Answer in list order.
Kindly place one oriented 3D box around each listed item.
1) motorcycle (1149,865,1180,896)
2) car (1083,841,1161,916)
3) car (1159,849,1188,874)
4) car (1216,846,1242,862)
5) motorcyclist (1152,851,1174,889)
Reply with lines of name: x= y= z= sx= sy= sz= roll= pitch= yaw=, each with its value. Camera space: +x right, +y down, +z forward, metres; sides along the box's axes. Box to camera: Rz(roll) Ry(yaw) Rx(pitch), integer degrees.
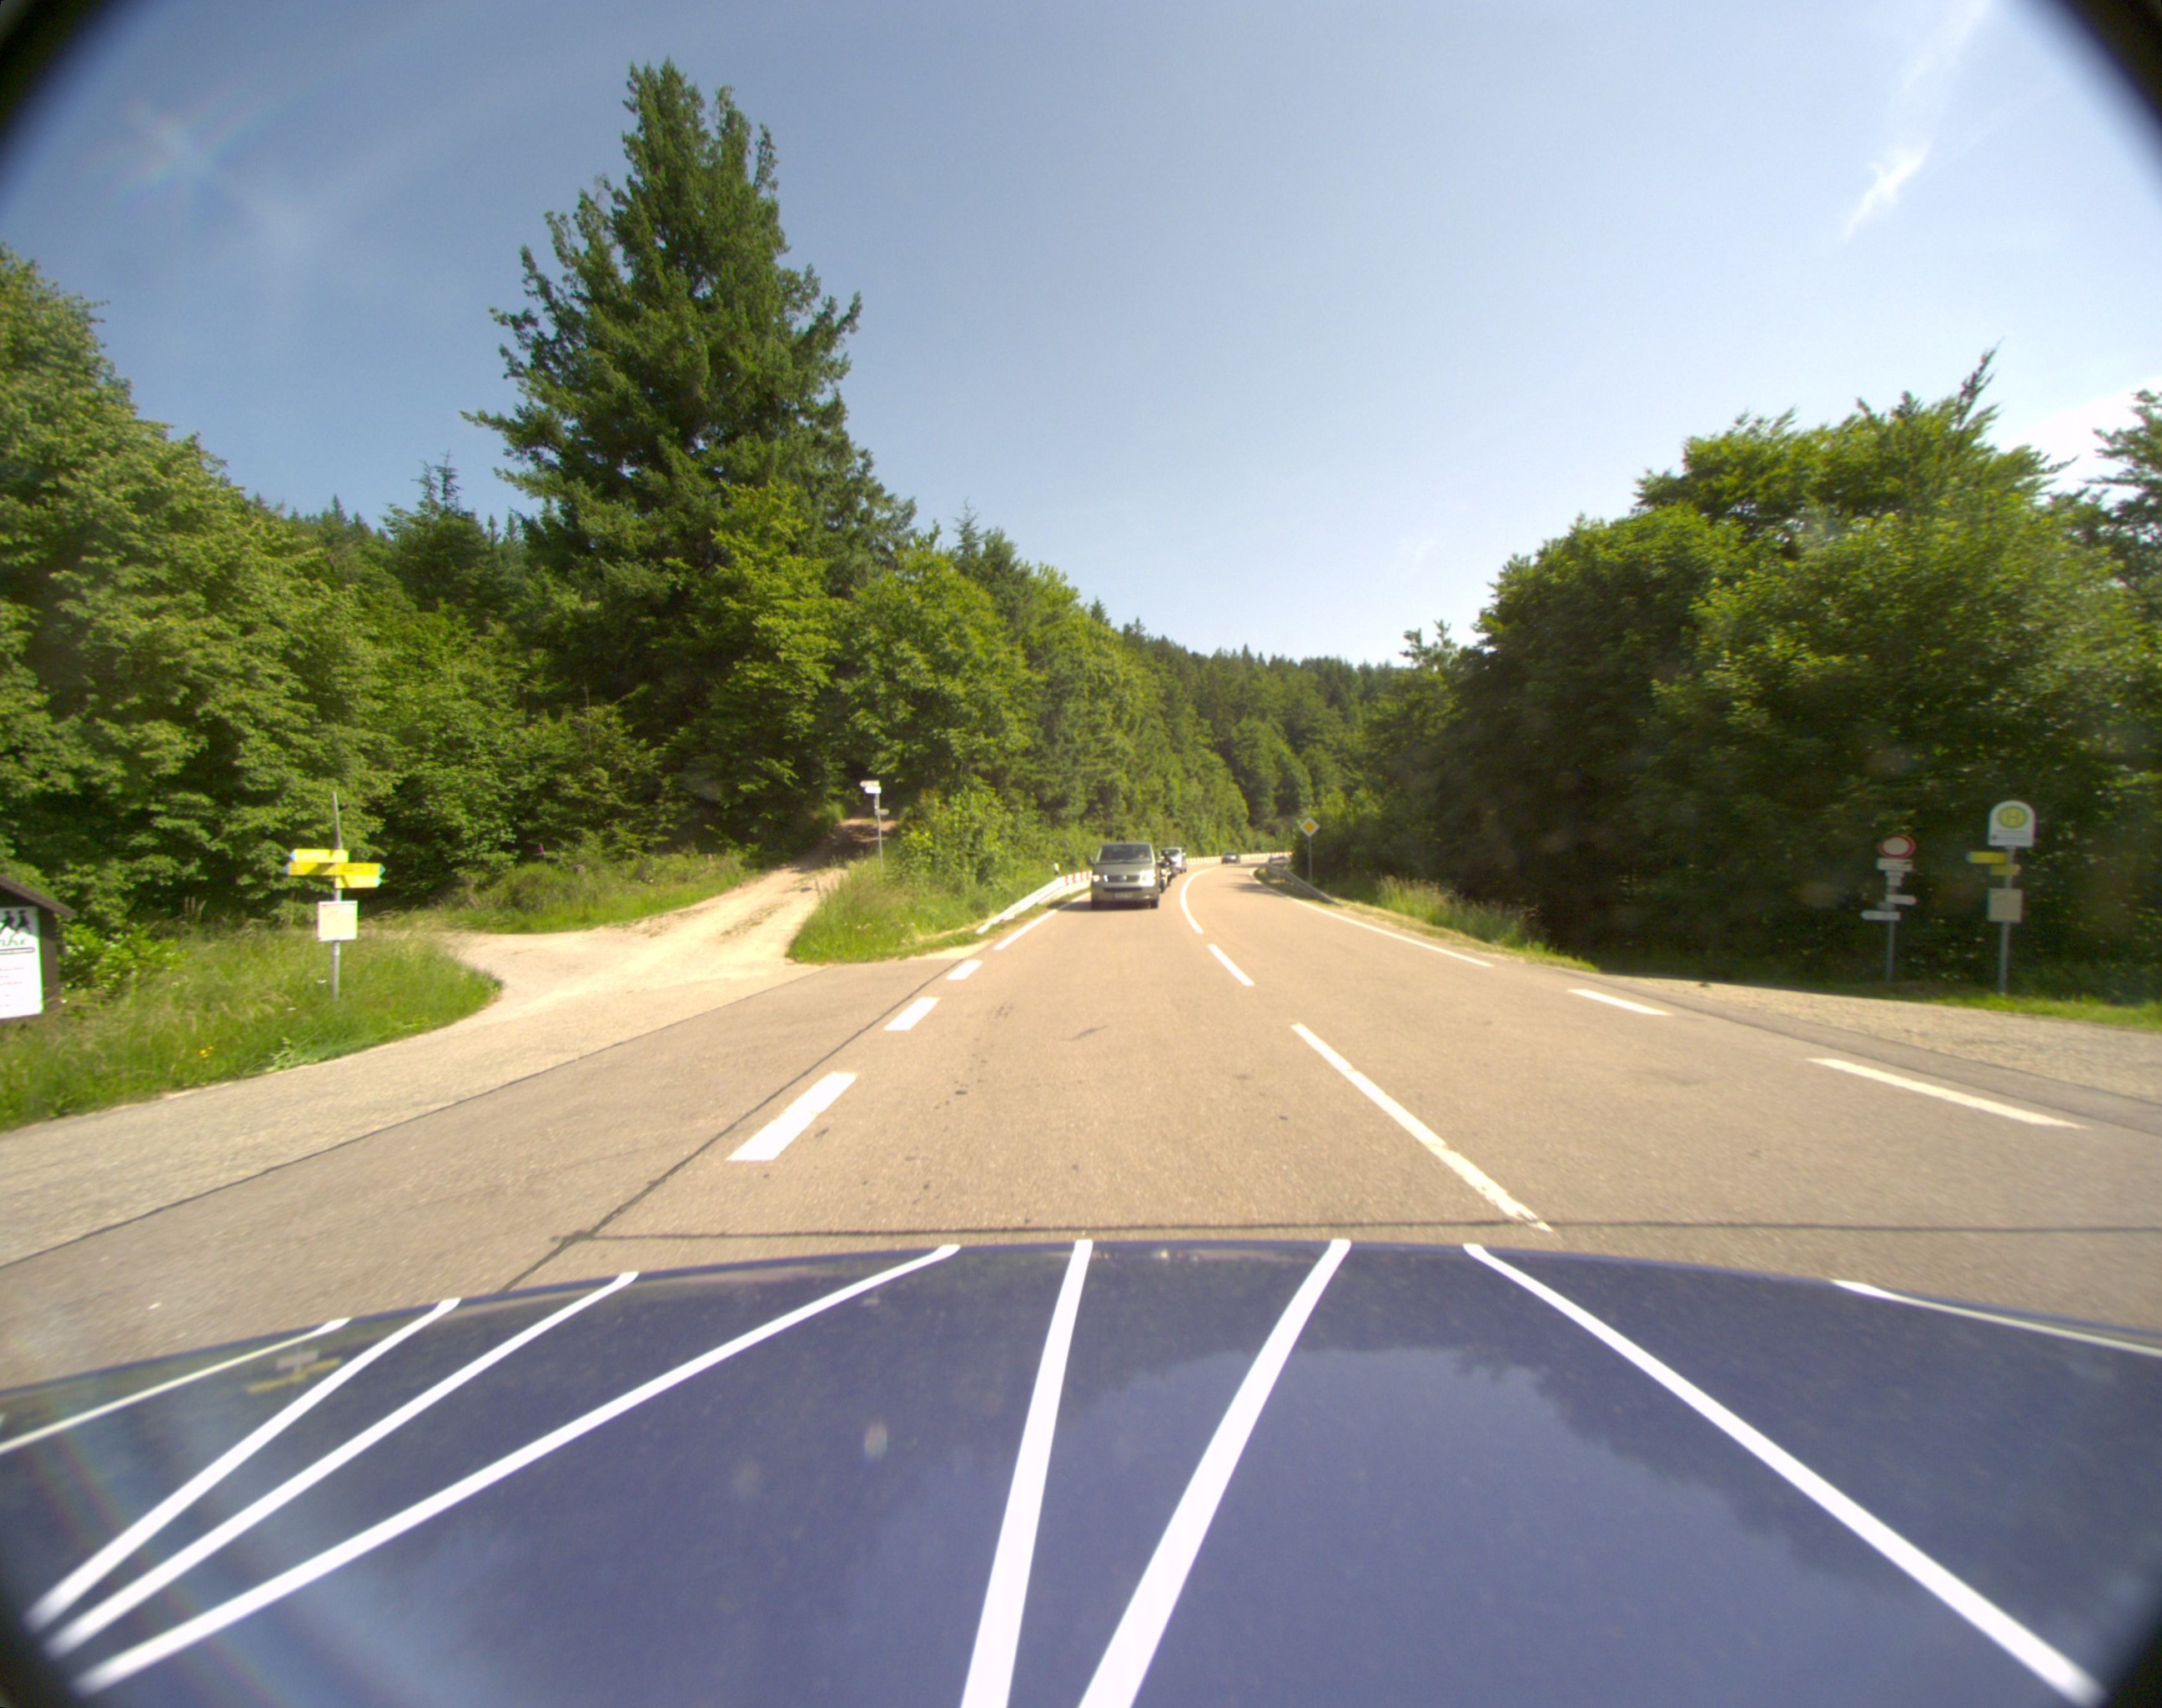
motorcycle: x=3.262 y=0.999 z=29.616 sx=1.109 sy=1.117 sz=1.962 roll=-1 pitch=0 yaw=7
car: x=1.355 y=0.636 z=22.829 sx=2.028 sy=1.940 sz=4.901 roll=-2 pitch=1 yaw=6
car: x=6.807 y=0.524 z=55.586 sx=1.651 sy=1.749 sz=3.798 roll=-1 pitch=1 yaw=13
car: x=16.962 y=0.008 z=86.933 sx=1.995 sy=1.633 sz=4.006 roll=-2 pitch=0 yaw=24
motorcyclist: x=3.199 y=0.621 z=29.596 sx=0.716 sy=1.421 sz=1.000 roll=-4 pitch=0 yaw=9
